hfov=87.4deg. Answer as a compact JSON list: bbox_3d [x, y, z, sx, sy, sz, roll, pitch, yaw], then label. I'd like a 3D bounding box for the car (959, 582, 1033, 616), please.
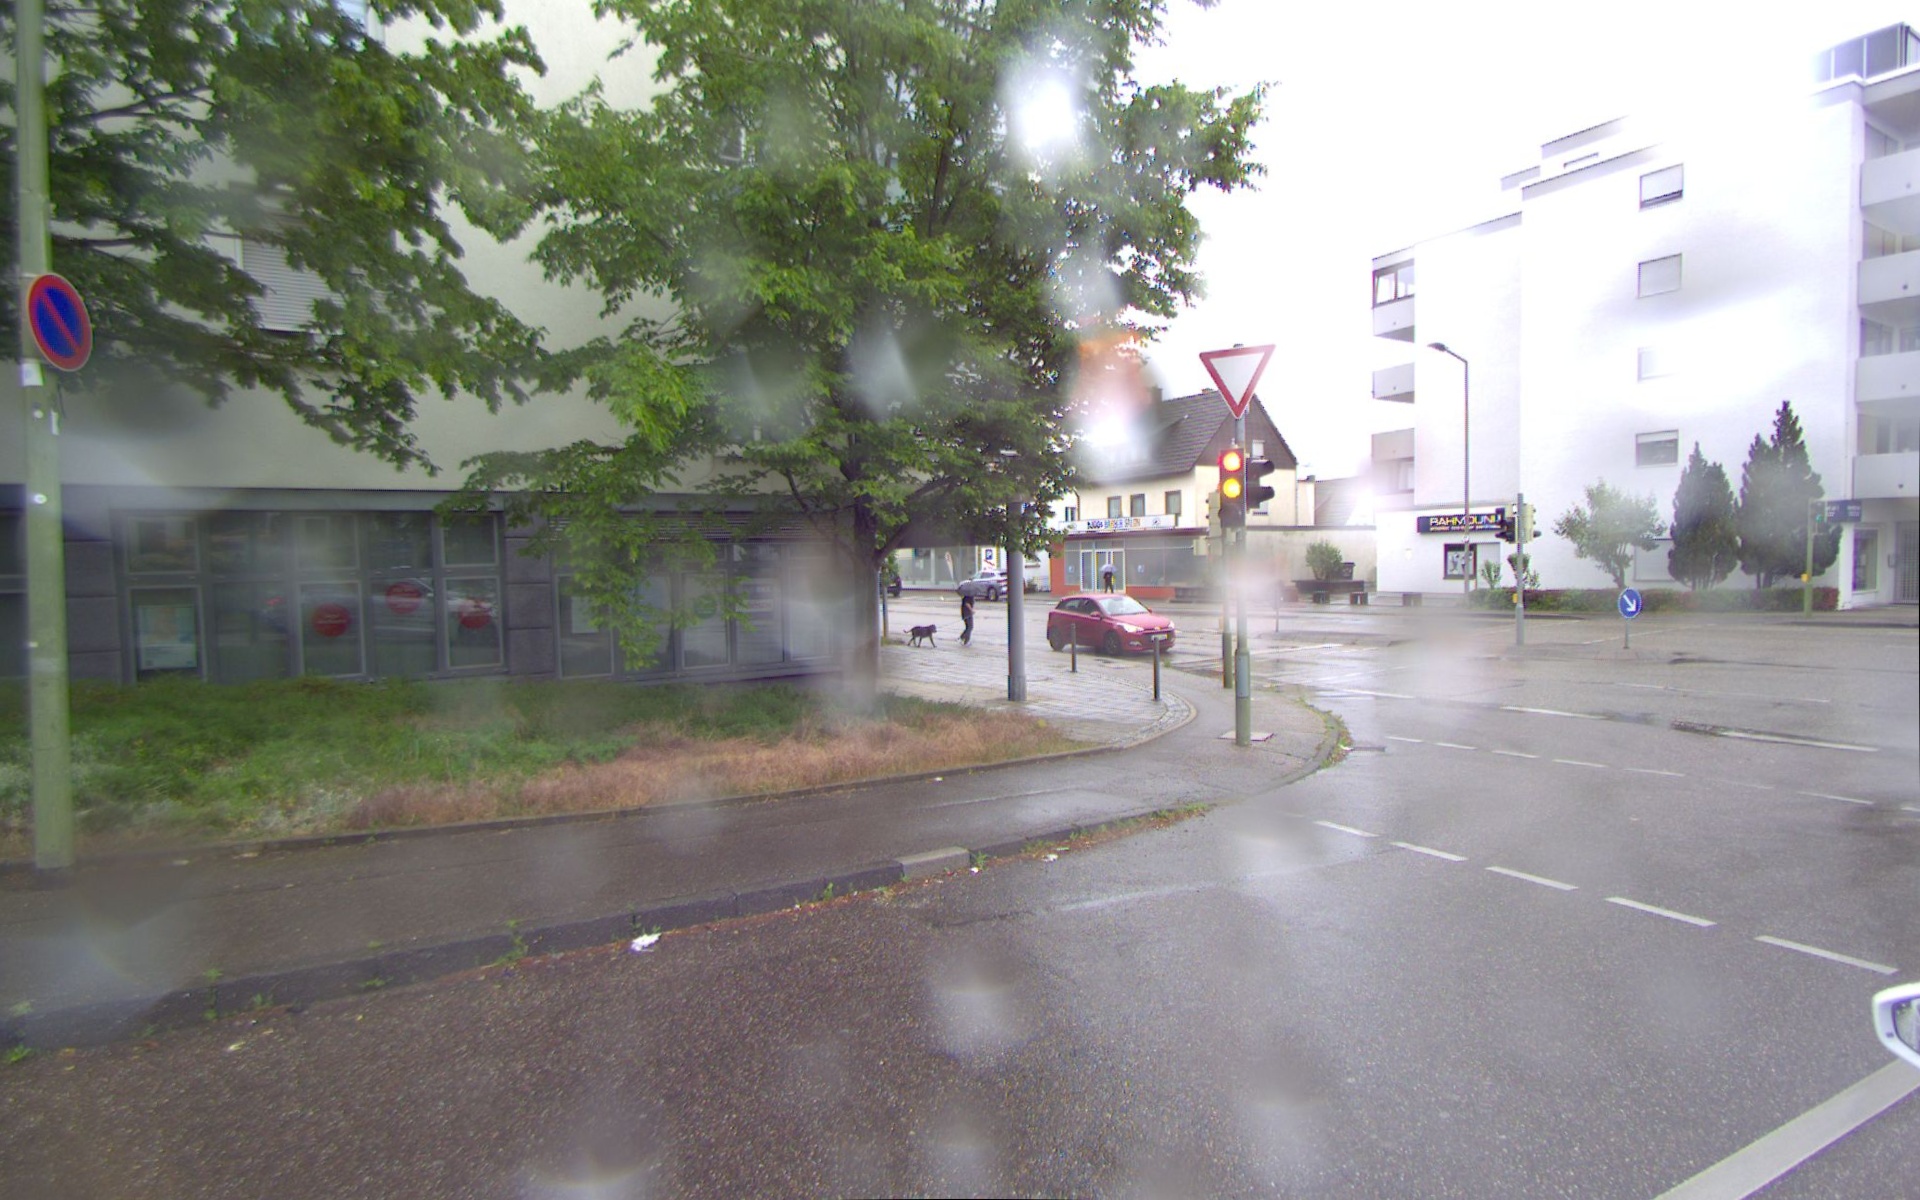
[{"bbox_3d":[1.952,-0.078,56.427,1.858,1.665,4.754,-6,3,-30],"label":"car"}]

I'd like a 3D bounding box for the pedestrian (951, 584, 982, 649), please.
[{"bbox_3d":[0.170,0.437,27.659,0.657,1.725,0.945,-1,2,-11],"label":"pedestrian"}]

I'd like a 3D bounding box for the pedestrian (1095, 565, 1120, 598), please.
[{"bbox_3d":[7.298,-0.900,49.727,0.746,1.589,0.985,-1,1,-30],"label":"pedestrian"}]

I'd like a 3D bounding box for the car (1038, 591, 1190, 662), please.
[{"bbox_3d":[3.893,0.610,26.025,1.759,1.527,4.073,-6,3,-28],"label":"car"}]

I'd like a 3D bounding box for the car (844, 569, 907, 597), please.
[{"bbox_3d":[-5.657,-1.121,66.931,2.020,1.718,4.917,-6,4,-33],"label":"car"}]

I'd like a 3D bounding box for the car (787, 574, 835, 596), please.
[{"bbox_3d":[-11.123,-1.126,74.893,1.803,1.468,4.161,-5,4,-35],"label":"car"}]
